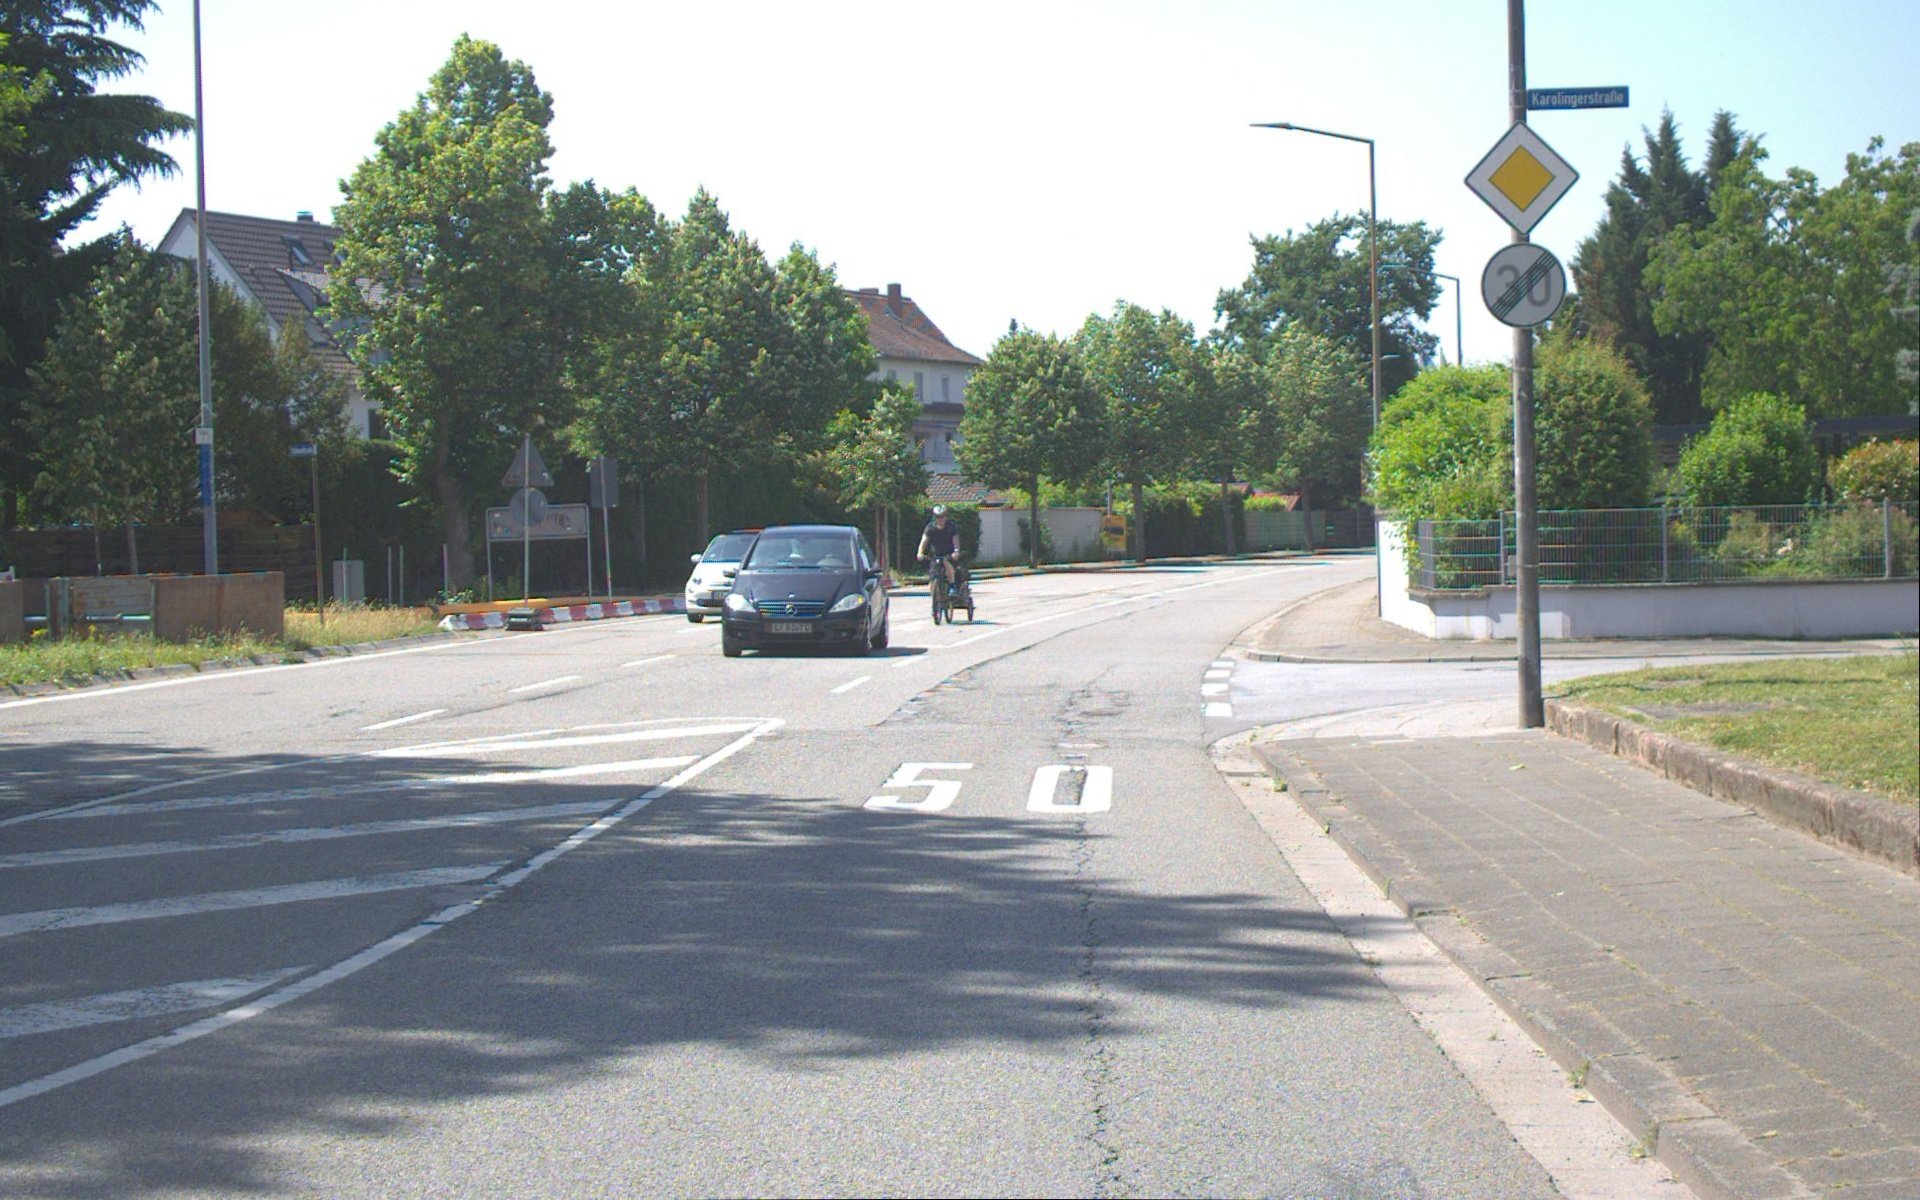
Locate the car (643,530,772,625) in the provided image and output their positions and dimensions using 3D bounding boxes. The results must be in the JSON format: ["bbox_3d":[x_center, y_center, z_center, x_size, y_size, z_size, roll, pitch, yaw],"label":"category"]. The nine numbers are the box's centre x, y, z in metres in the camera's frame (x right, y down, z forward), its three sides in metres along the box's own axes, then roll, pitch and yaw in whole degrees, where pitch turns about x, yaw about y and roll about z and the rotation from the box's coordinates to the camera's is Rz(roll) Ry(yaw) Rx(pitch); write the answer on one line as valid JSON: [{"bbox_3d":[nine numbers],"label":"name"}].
[{"bbox_3d":[-4.142,-0.391,56.888,1.699,1.505,3.459,0,1,3],"label":"car"}]

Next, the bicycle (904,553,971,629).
[{"bbox_3d":[-0.337,-0.150,54.059,0.850,1.162,1.977,0,1,5],"label":"bicycle"}]

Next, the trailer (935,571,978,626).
[{"bbox_3d":[-0.055,-0.032,55.598,0.570,0.853,1.132,-1,1,6],"label":"trailer"}]

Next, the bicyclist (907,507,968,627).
[{"bbox_3d":[-0.343,-0.523,54.009,0.846,1.859,0.976,0,1,5],"label":"bicyclist"}]

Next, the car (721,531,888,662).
[{"bbox_3d":[-1.873,-0.082,42.365,1.725,1.527,3.830,0,1,2],"label":"car"}]
